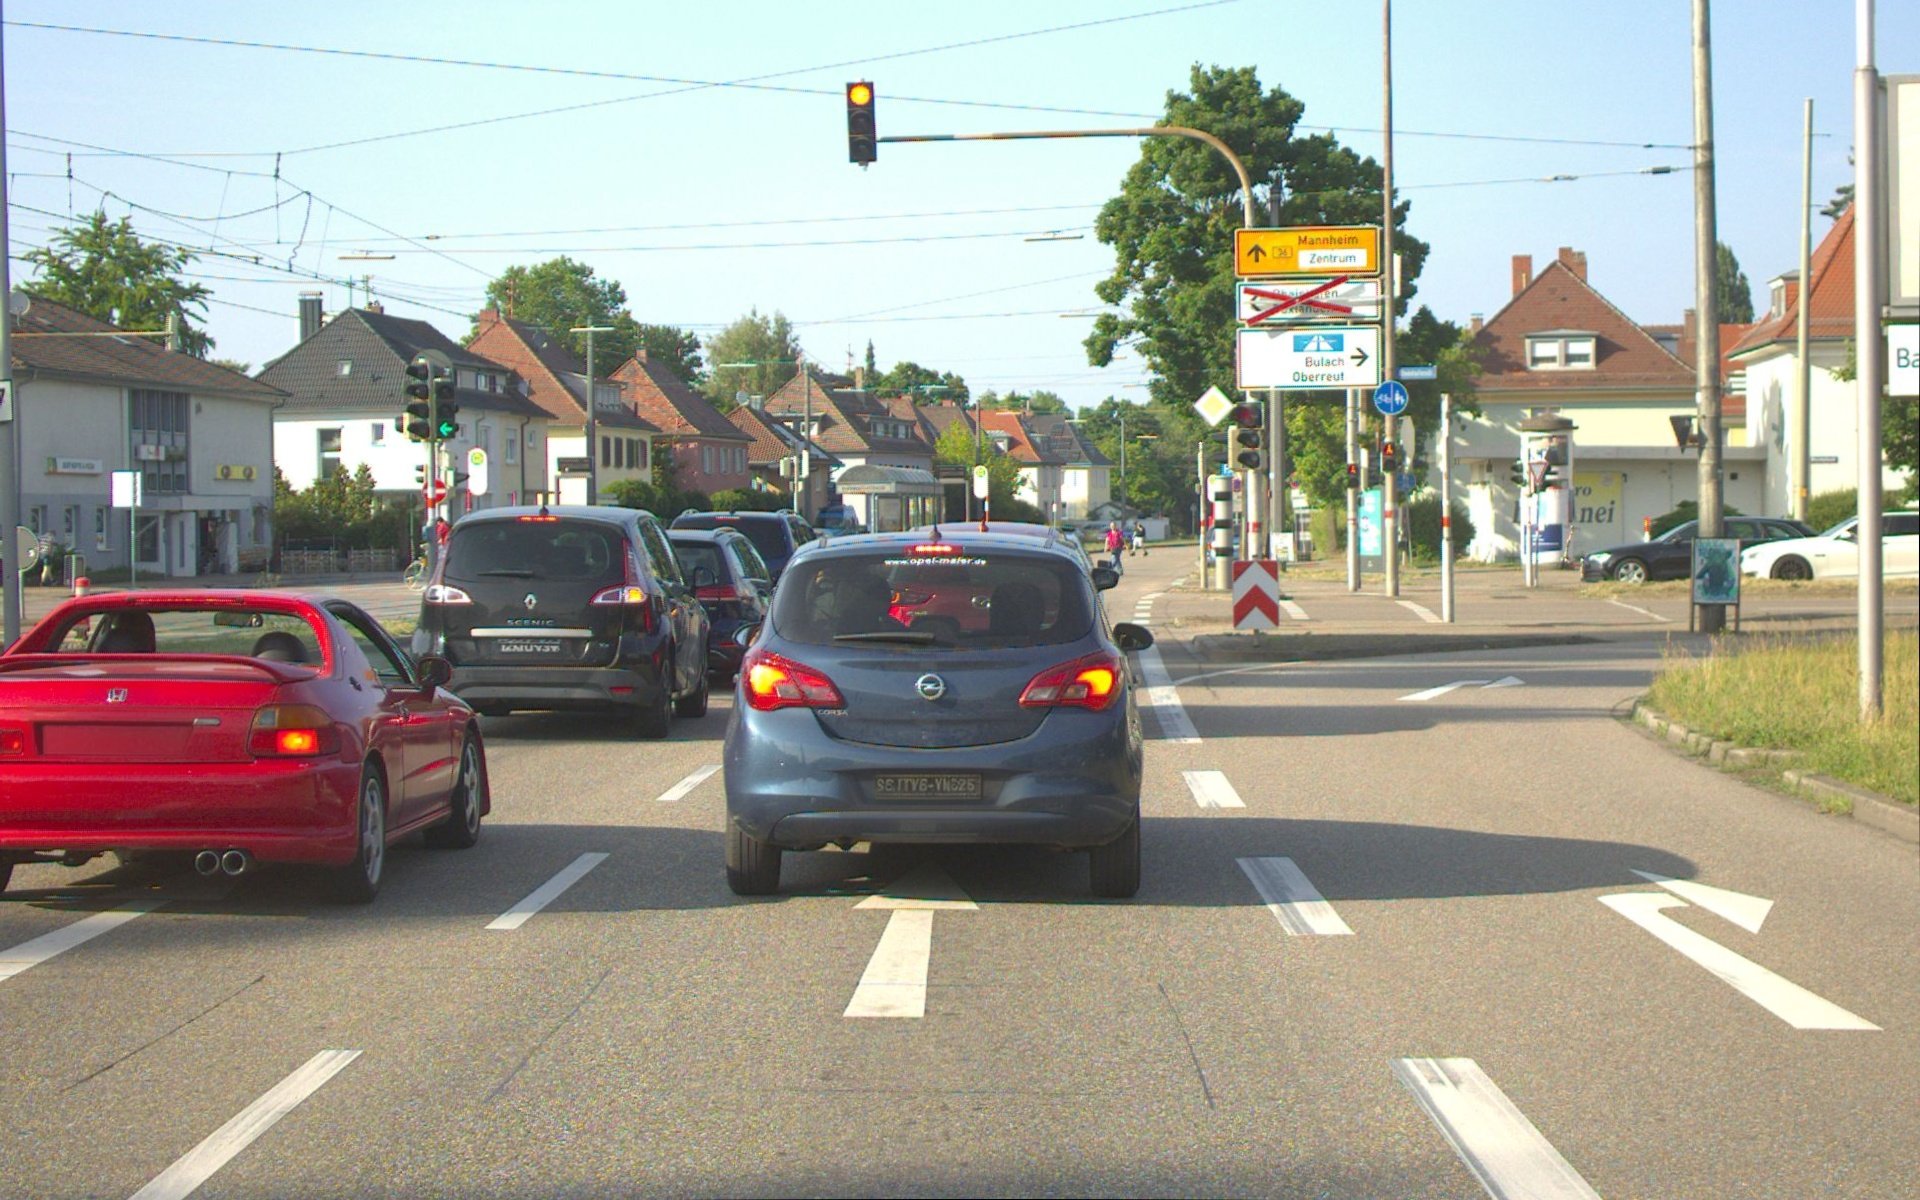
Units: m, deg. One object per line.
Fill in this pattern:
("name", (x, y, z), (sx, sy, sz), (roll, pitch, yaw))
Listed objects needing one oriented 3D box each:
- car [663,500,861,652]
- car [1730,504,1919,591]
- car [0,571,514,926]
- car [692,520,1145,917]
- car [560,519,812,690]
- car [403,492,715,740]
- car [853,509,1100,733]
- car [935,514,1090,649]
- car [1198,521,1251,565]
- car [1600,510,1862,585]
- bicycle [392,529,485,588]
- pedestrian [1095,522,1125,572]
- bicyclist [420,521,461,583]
("car", (-2.229, -0.319, 39.877), (1.507, 1.645, 4.743), (-1, 1, 6))
("car", (17.021, -0.990, 63.855), (5.095, 1.557, 1.840), (0, 1, 5))
("car", (-3.091, 0.529, 14.579), (1.731, 1.202, 3.847), (1, 1, 2))
("car", (-0.204, 0.410, 15.390), (1.741, 1.500, 4.223), (0, 2, -1))
("car", (-2.529, -0.017, 32.682), (1.700, 1.503, 4.553), (0, 1, 4))
("car", (-2.847, 0.057, 25.210), (1.763, 1.665, 4.084), (0, 1, 1))
("car", (0.151, 0.100, 26.079), (1.706, 1.546, 3.978), (-1, 1, 1))
("car", (0.621, -0.251, 39.164), (1.656, 1.438, 4.014), (-1, 1, 1))
("car", (8.681, -1.850, 112.720), (1.675, 1.393, 3.999), (1, 1, 4))
("car", (15.119, -1.043, 67.577), (4.824, 1.406, 1.715), (0, 1, 5))
("bicycle", (-12.264, -0.979, 80.870), (2.073, 1.343, 1.109), (1, 0, -5))
("pedestrian", (4.615, -1.627, 105.655), (0.753, 1.494, 0.826), (1, 0, 12))
("bicyclist", (-12.215, -1.132, 80.864), (0.884, 1.426, 1.137), (1, 0, -5))
